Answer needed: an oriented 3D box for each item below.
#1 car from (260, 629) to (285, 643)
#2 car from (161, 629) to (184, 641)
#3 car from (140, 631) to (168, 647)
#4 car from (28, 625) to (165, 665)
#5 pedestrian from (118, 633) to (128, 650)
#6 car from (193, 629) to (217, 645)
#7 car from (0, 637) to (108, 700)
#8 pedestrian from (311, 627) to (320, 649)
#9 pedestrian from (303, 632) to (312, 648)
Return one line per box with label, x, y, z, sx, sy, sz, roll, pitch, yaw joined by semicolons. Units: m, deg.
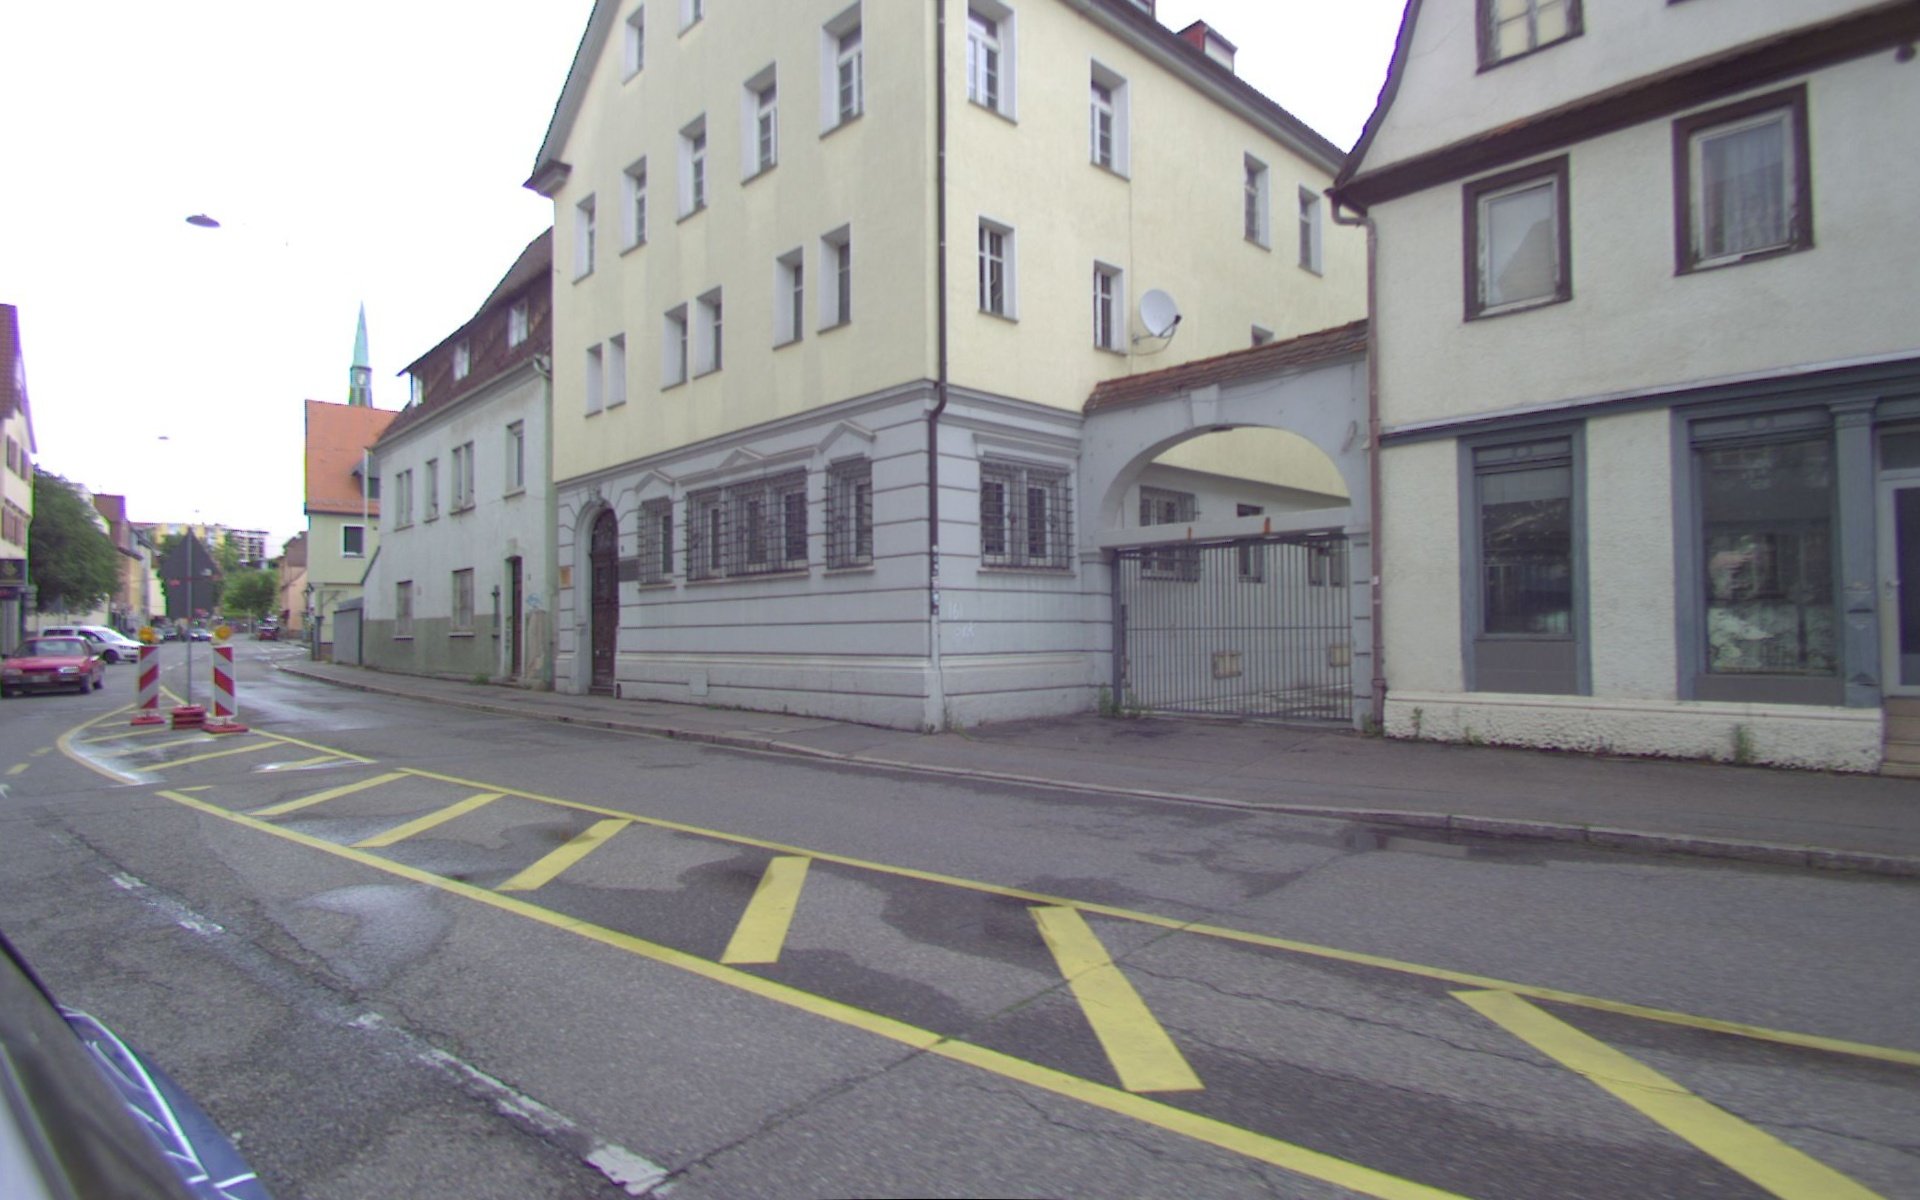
car;-82.027;4.275;120.701;2.178;1.690;4.508;2;-2;-37
car;-92.708;4.069;119.231;1.793;1.399;4.011;2;-2;-34
car;-80.679;3.916;101.294;2.001;1.567;4.009;2;-2;-36
car;-40.147;2.072;47.170;4.394;1.801;2.005;1;-1;-11
pedestrian;-72.755;3.635;87.954;0.590;1.455;0.773;2;-3;-39
car;-82.842;4.033;111.049;1.967;1.691;4.009;0;-1;-36
car;-22.517;1.672;25.273;1.659;1.438;4.030;1;-3;-37
pedestrian;-62.939;3.682;98.833;0.746;2.138;0.785;0;-2;-36
pedestrian;-63.579;3.900;98.626;0.627;1.618;0.713;2;-2;-36
